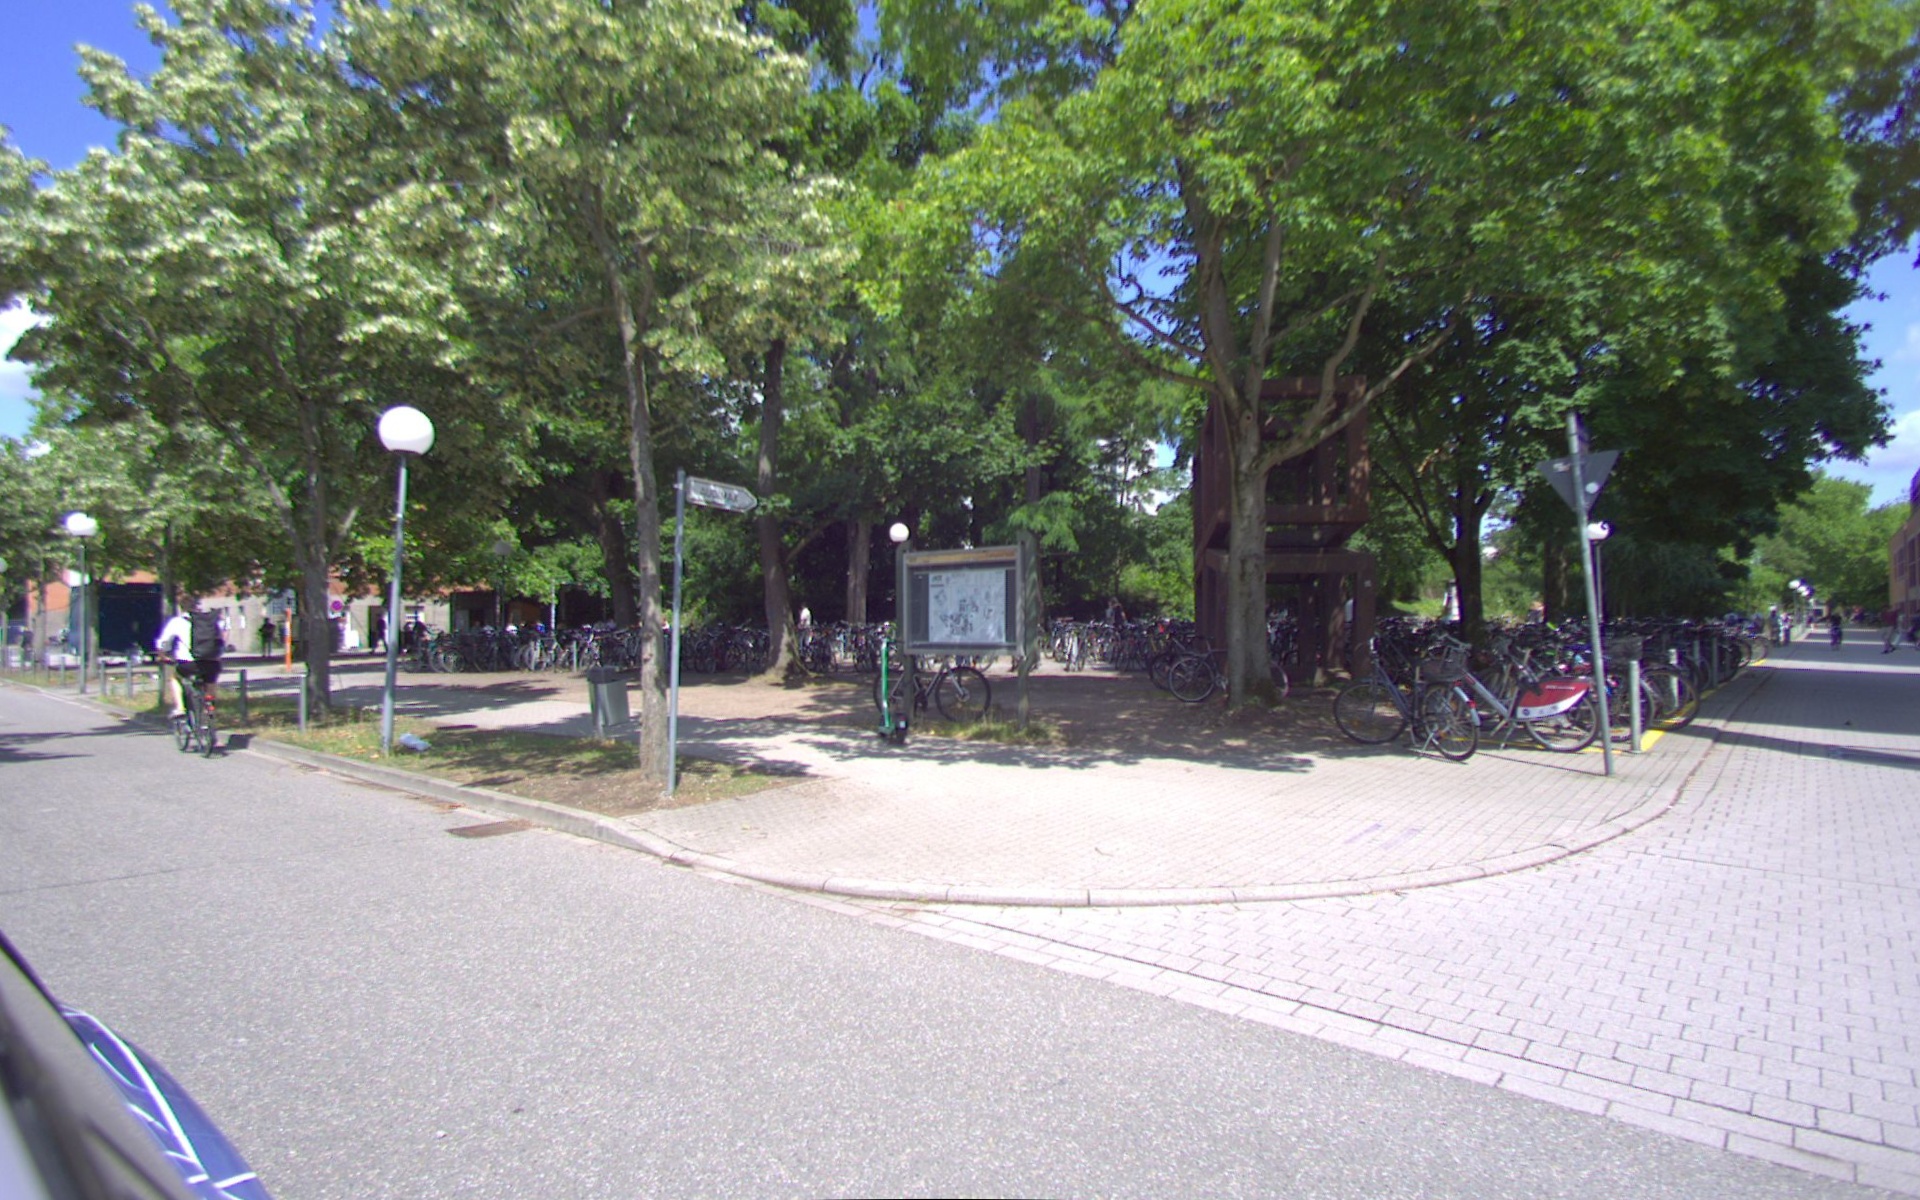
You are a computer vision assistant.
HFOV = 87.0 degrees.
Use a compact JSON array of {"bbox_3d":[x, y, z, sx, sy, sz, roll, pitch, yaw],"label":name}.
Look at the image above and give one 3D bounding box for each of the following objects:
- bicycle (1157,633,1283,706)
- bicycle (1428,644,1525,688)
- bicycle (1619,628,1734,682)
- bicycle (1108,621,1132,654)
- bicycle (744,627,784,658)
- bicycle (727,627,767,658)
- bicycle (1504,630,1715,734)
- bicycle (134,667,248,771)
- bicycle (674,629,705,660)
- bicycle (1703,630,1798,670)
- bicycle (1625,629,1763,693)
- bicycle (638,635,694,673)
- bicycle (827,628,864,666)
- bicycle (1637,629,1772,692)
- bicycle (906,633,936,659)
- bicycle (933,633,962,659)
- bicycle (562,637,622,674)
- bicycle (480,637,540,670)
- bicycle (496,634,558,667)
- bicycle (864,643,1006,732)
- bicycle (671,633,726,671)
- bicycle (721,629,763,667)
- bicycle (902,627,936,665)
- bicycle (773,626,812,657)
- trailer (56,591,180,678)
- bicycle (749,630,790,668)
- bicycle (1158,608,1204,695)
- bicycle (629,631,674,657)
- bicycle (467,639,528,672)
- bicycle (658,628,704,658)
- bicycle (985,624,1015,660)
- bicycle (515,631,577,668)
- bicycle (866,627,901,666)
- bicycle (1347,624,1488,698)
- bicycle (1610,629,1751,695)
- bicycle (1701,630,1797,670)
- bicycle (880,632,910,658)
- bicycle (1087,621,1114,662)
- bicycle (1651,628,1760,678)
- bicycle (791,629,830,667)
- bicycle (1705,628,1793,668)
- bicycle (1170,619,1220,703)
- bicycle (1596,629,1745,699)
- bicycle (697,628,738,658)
[{"bbox_3d":[3.667,0.967,14.339,1.650,0.972,0.472,-2,-2,30],"label":"bicycle"},{"bbox_3d":[9.521,1.224,18.674,1.542,0.768,0.322,-1,-1,8],"label":"bicycle"},{"bbox_3d":[15.525,1.179,21.962,1.972,1.095,0.546,-2,-1,41],"label":"bicycle"},{"bbox_3d":[5.480,1.270,34.533,0.502,1.043,2.050,-2,-1,17],"label":"bicycle"},{"bbox_3d":[-7.355,1.576,38.093,0.592,1.099,1.946,-1,-1,18],"label":"bicycle"},{"bbox_3d":[-8.084,1.609,38.435,0.592,1.099,1.946,-1,-1,18],"label":"bicycle"},{"bbox_3d":[7.472,0.915,11.710,1.972,1.095,0.546,-2,-1,41],"label":"bicycle"},{"bbox_3d":[-9.405,1.405,12.351,1.886,1.138,0.678,-2,-3,39],"label":"bicycle"},{"bbox_3d":[-10.067,1.636,37.728,0.589,1.099,1.957,0,-1,2],"label":"bicycle"},{"bbox_3d":[21.494,1.353,27.570,1.969,1.031,0.611,-2,-1,37],"label":"bicycle"},{"bbox_3d":[13.365,1.098,18.469,1.972,1.095,0.546,-2,-1,41],"label":"bicycle"},{"bbox_3d":[-9.187,1.677,31.648,0.544,1.097,1.951,-2,-1,24],"label":"bicycle"},{"bbox_3d":[-3.485,1.420,30.930,0.541,1.097,1.960,-2,-1,12],"label":"bicycle"},{"bbox_3d":[13.864,1.111,18.892,1.972,1.095,0.546,-2,-1,41],"label":"bicycle"},{"bbox_3d":[-1.421,1.663,36.927,0.416,0.900,1.755,-2,-1,21],"label":"bicycle"},{"bbox_3d":[-0.443,1.661,36.713,0.416,0.900,1.755,-2,-1,21],"label":"bicycle"},{"bbox_3d":[-11.532,1.728,31.783,0.544,1.097,1.951,-2,-1,24],"label":"bicycle"},{"bbox_3d":[-15.294,1.815,34.405,0.537,1.022,1.783,-3,-2,43],"label":"bicycle"},{"bbox_3d":[-14.405,1.677,33.727,0.535,1.011,1.947,-2,-1,30],"label":"bicycle"},{"bbox_3d":[-0.331,1.058,12.476,1.807,1.033,0.379,-2,-2,29],"label":"bicycle"},{"bbox_3d":[-8.147,1.607,31.604,0.544,1.097,1.951,-2,-1,24],"label":"bicycle"},{"bbox_3d":[-6.835,1.491,31.864,0.541,1.097,1.960,-2,-1,12],"label":"bicycle"},{"bbox_3d":[-1.229,1.391,30.825,0.541,1.097,1.960,-2,-1,12],"label":"bicycle"},{"bbox_3d":[-6.257,1.528,37.943,0.592,1.099,1.946,-1,-1,18],"label":"bicycle"},{"bbox_3d":[-32.202,1.307,38.621,6.263,3.049,2.668,-2,-1,41],"label":"trailer"},{"bbox_3d":[-5.813,1.475,30.964,0.541,1.097,1.960,-2,-1,12],"label":"bicycle"},{"bbox_3d":[3.975,0.903,18.346,0.600,1.461,2.285,-1,-1,8],"label":"bicycle"},{"bbox_3d":[-12.082,1.721,39.702,0.544,0.949,1.866,-1,-1,27],"label":"bicycle"},{"bbox_3d":[-15.312,1.817,33.535,0.537,1.022,1.783,-3,-2,43],"label":"bicycle"},{"bbox_3d":[-10.867,1.653,39.458,0.594,1.099,1.940,-1,-1,27],"label":"bicycle"},{"bbox_3d":[1.438,1.471,36.051,0.421,1.216,1.782,-2,-1,24],"label":"bicycle"},{"bbox_3d":[-13.515,1.599,33.094,0.535,1.134,1.947,-2,-1,30],"label":"bicycle"},{"bbox_3d":[-2.310,1.396,30.860,0.541,1.097,1.960,-2,-1,12],"label":"bicycle"},{"bbox_3d":[6.816,0.896,15.141,1.849,1.040,0.470,-2,-2,42],"label":"bicycle"},{"bbox_3d":[12.834,1.084,18.065,1.972,1.095,0.546,-2,-1,41],"label":"bicycle"},{"bbox_3d":[21.074,1.338,27.094,1.969,1.031,0.611,-2,-1,37],"label":"bicycle"},{"bbox_3d":[-2.373,1.643,37.116,0.416,0.900,1.755,-2,-1,21],"label":"bicycle"},{"bbox_3d":[4.157,1.205,29.978,0.726,1.117,2.300,-2,-1,8],"label":"bicycle"},{"bbox_3d":[17.229,1.225,23.420,1.972,1.095,0.546,-2,-1,41],"label":"bicycle"},{"bbox_3d":[-4.629,1.474,31.439,0.541,1.097,1.960,-2,-1,12],"label":"bicycle"},{"bbox_3d":[22.972,1.396,29.507,1.972,1.095,0.546,-2,-1,41],"label":"bicycle"},{"bbox_3d":[3.723,0.957,16.152,0.581,1.263,2.015,-1,-3,8],"label":"bicycle"},{"bbox_3d":[11.866,1.054,16.957,1.972,1.095,0.546,-2,-1,41],"label":"bicycle"},{"bbox_3d":[-9.191,1.624,38.472,0.592,1.099,1.946,-1,-1,18],"label":"bicycle"}]
